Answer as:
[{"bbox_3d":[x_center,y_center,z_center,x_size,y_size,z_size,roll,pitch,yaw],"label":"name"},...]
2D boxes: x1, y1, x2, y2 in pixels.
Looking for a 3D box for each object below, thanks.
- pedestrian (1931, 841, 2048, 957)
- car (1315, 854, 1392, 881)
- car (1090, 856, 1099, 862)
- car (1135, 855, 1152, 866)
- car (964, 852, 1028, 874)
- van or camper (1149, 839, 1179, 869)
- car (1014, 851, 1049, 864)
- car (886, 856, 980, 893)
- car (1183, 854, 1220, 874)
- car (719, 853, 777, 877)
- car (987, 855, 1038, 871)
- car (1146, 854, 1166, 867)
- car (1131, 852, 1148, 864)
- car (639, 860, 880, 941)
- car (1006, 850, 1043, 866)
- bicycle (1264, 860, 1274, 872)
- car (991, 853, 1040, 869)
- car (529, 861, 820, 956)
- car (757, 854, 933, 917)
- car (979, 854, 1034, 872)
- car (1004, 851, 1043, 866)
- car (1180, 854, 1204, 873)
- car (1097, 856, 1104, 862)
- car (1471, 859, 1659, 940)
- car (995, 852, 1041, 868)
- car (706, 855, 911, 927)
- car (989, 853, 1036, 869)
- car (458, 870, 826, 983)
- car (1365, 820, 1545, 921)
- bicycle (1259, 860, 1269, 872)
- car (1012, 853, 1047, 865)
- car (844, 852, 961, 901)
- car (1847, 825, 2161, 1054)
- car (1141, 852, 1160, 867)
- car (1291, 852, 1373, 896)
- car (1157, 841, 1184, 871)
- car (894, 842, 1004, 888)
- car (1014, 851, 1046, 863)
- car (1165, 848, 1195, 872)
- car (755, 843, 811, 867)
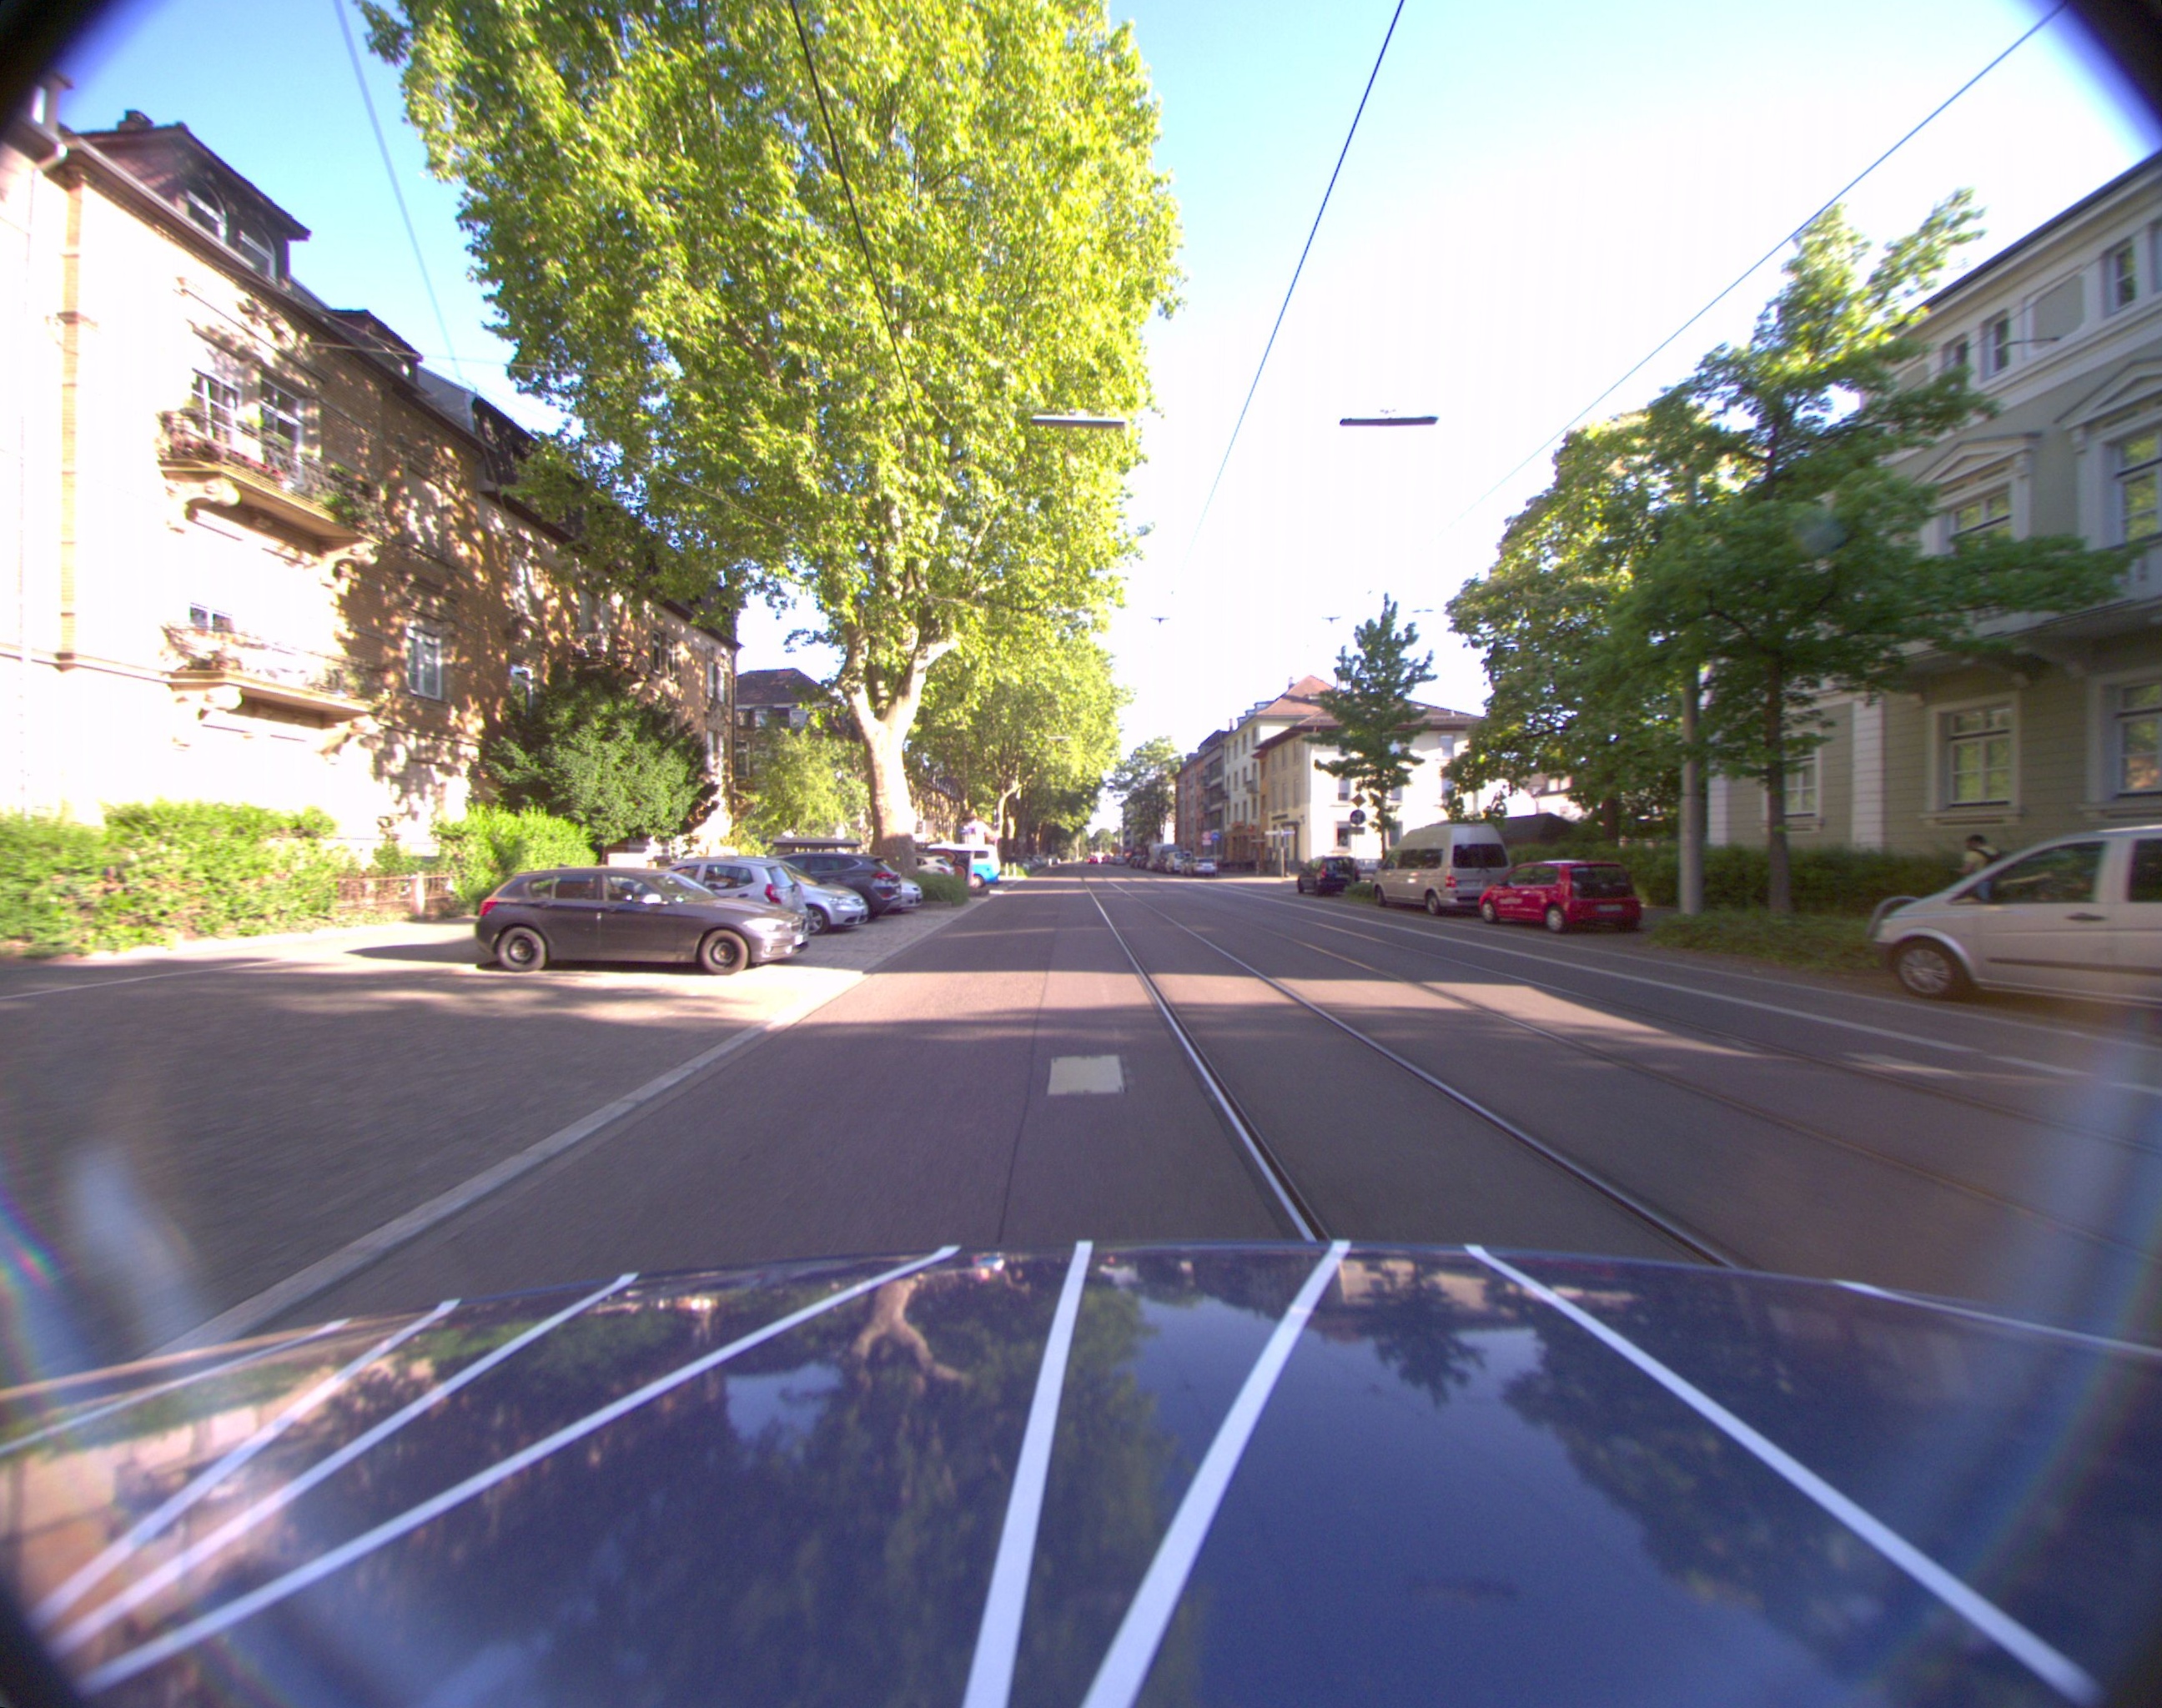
[{"bbox_3d":[13.489,0.641,11.313,0.606,1.652,0.947,-1,1,0],"label":"pedestrian"},{"bbox_3d":[16.851,0.841,47.122,4.071,1.608,1.966,0,0,3],"label":"car"},{"bbox_3d":[3.028,1.117,170.609,1.769,1.448,3.585,0,0,-1],"label":"car"},{"bbox_3d":[8.528,0.886,103.464,1.791,1.462,4.434,-1,0,-2],"label":"car"},{"bbox_3d":[-6.604,0.730,59.732,4.811,1.621,1.893,1,0,-1],"label":"car"},{"bbox_3d":[8.841,-0.022,81.485,2.423,2.960,5.990,-4,0,0],"label":"van or camper"},{"bbox_3d":[-6.971,0.485,107.161,4.611,1.781,1.893,1,0,2],"label":"car"},{"bbox_3d":[-6.456,0.880,33.372,3.792,1.479,1.790,1,0,-3],"label":"car"},{"bbox_3d":[9.182,0.726,58.192,1.776,1.484,4.939,-1,0,-4],"label":"car"},{"bbox_3d":[-22.464,0.713,51.406,1.728,1.573,4.003,0,0,9],"label":"car"},{"bbox_3d":[-6.564,0.861,73.077,4.611,1.485,1.893,1,0,2],"label":"car"},{"bbox_3d":[8.656,0.749,87.856,1.791,1.506,3.472,-1,0,-2],"label":"car"},{"bbox_3d":[8.324,0.593,108.360,1.791,1.660,4.434,-1,0,-2],"label":"car"},{"bbox_3d":[-6.518,0.913,15.730,4.210,1.565,1.818,0,0,1],"label":"car"},{"bbox_3d":[-7.334,0.513,99.098,4.636,2.001,1.893,1,0,2],"label":"car"},{"bbox_3d":[14.935,0.957,60.321,0.362,0.923,1.647,0,0,-1],"label":"bicycle"},{"bbox_3d":[-6.434,0.733,75.248,4.611,1.485,1.893,1,0,2],"label":"car"},{"bbox_3d":[-7.069,0.905,13.525,4.210,1.546,1.818,0,0,1],"label":"car"},{"bbox_3d":[-6.350,0.823,20.746,4.210,1.609,1.818,0,0,1],"label":"car"},{"bbox_3d":[-6.567,0.812,66.972,4.611,1.485,1.893,1,0,2],"label":"car"},{"bbox_3d":[-6.999,0.550,92.882,4.611,1.781,1.893,1,0,2],"label":"car"},{"bbox_3d":[9.156,0.741,62.863,1.575,1.484,2.882,-1,0,0],"label":"car"},{"bbox_3d":[5.099,1.256,196.749,1.769,1.448,3.585,0,0,-1],"label":"car"},{"bbox_3d":[10.377,0.897,16.645,1.689,1.530,3.707,0,0,-1],"label":"car"},{"bbox_3d":[-6.583,0.641,80.206,4.611,1.631,1.893,1,0,2],"label":"car"},{"bbox_3d":[-6.341,0.839,18.063,4.212,1.609,1.878,0,0,-4],"label":"car"},{"bbox_3d":[-7.036,0.693,78.204,4.611,1.556,1.893,1,0,2],"label":"car"},{"bbox_3d":[-6.066,0.969,10.907,4.211,1.439,1.817,0,0,-1],"label":"car"},{"bbox_3d":[10.344,0.409,21.634,2.310,2.493,5.342,0,0,-2],"label":"car"},{"bbox_3d":[14.933,0.962,62.002,0.362,0.923,1.647,0,0,-1],"label":"bicycle"},{"bbox_3d":[-7.032,0.707,104.625,4.611,1.631,1.893,1,0,2],"label":"car"},{"bbox_3d":[-6.369,0.790,27.372,3.792,1.609,1.790,1,0,-3],"label":"car"},{"bbox_3d":[10.244,0.737,6.739,1.848,1.977,4.987,0,0,0],"label":"car"},{"bbox_3d":[8.481,0.629,93.363,1.791,1.743,4.434,-1,0,-2],"label":"car"},{"bbox_3d":[10.085,0.759,30.887,1.997,1.680,4.261,0,0,2],"label":"car"},{"bbox_3d":[8.745,0.188,74.674,1.928,2.730,4.546,-4,0,0],"label":"car"},{"bbox_3d":[-6.177,0.506,36.091,4.860,2.002,2.193,1,0,-4],"label":"car"},{"bbox_3d":[-7.730,0.424,114.609,4.611,1.705,1.893,1,0,2],"label":"car"},{"bbox_3d":[8.902,0.512,68.644,1.928,2.034,4.940,-1,0,-2],"label":"car"},{"bbox_3d":[-19.955,0.056,51.028,1.728,1.573,4.003,0,0,9],"label":"car"}]
